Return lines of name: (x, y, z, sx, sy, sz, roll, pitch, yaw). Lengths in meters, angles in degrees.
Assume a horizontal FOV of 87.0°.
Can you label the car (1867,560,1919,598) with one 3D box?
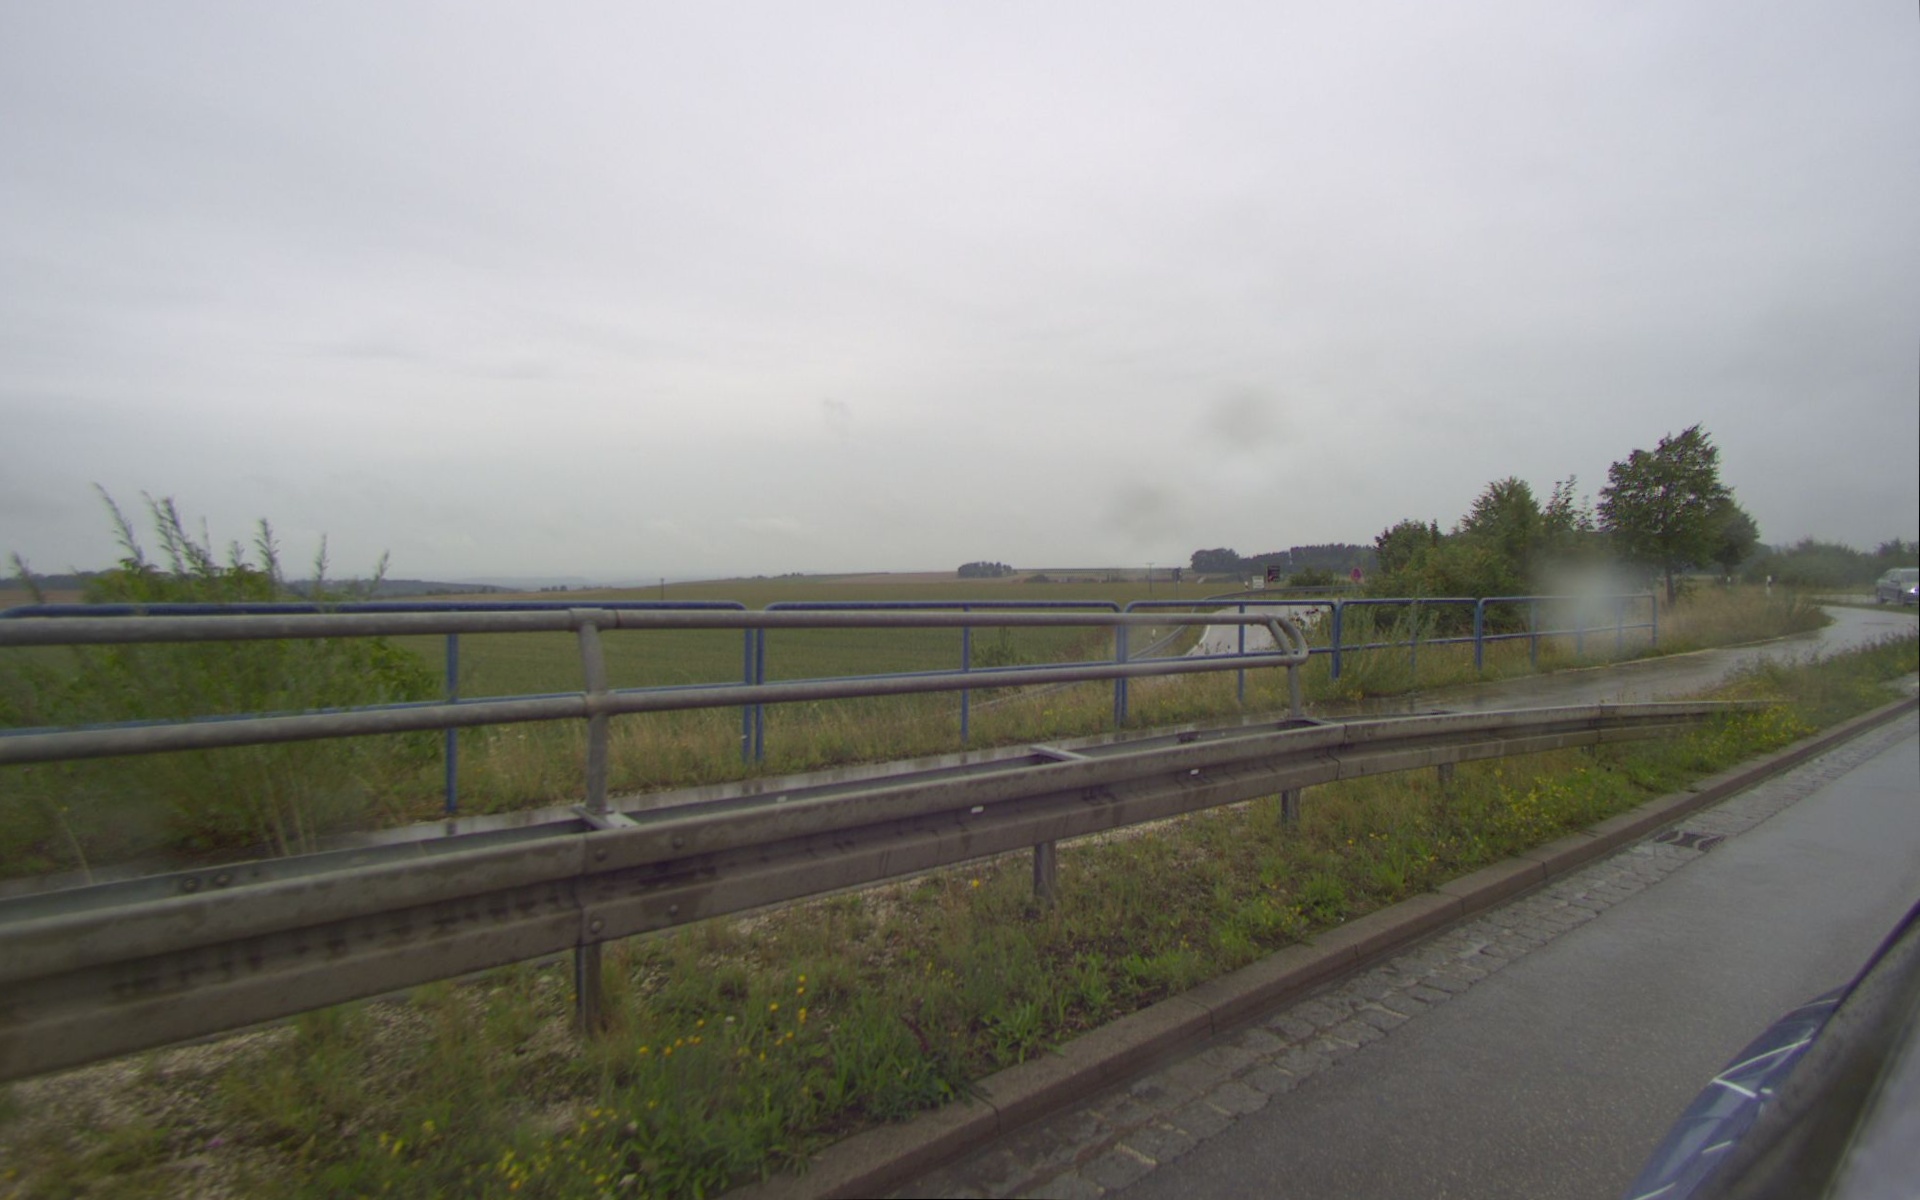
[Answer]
car: (37.328, -0.788, 39.132, 1.742, 1.438, 4.475, 2, 2, 20)
